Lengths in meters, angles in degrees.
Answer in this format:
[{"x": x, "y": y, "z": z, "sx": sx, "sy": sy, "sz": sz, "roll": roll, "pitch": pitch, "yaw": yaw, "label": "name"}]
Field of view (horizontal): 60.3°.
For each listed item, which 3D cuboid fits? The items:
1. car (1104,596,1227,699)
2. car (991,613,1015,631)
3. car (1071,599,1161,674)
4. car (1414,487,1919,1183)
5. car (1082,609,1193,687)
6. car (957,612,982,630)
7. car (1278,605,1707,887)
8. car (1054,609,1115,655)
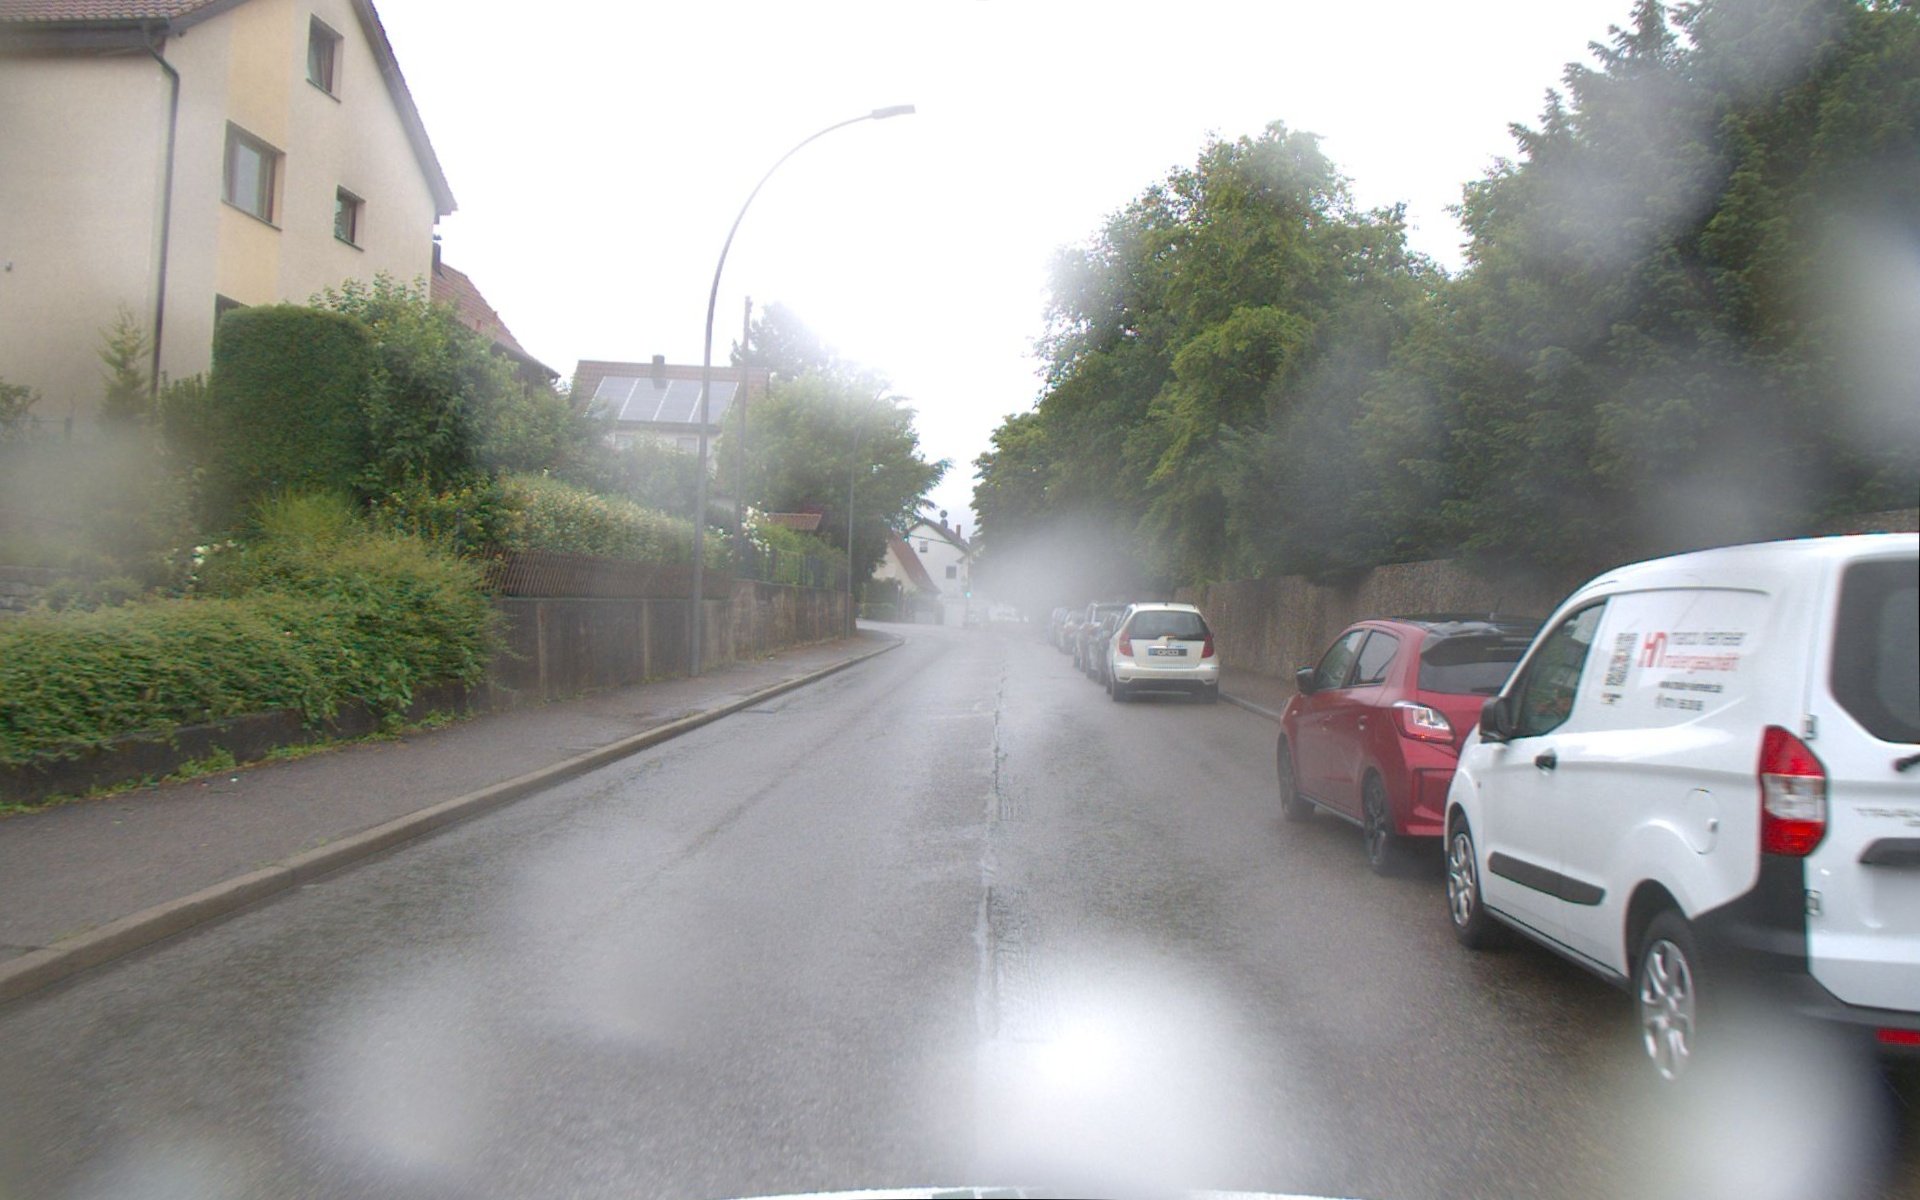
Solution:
[{"x": 3.439, "y": 0.792, "z": 28.311, "sx": 1.777, "sy": 1.601, "sz": 3.881, "roll": 1, "pitch": -1, "yaw": 3, "label": "car"}, {"x": 3.789, "y": 1.910, "z": 144.683, "sx": 1.866, "sy": 1.467, "sz": 4.002, "roll": 1, "pitch": 0, "yaw": 5, "label": "car"}, {"x": 3.780, "y": 0.875, "z": 40.667, "sx": 1.706, "sy": 1.697, "sz": 4.496, "roll": 1, "pitch": -1, "yaw": -1, "label": "car"}, {"x": 3.055, "y": 0.640, "z": 6.289, "sx": 1.603, "sy": 1.771, "sz": 4.136, "roll": 2, "pitch": -1, "yaw": 2, "label": "car"}, {"x": 3.611, "y": 0.961, "z": 34.391, "sx": 1.728, "sy": 1.472, "sz": 4.695, "roll": 1, "pitch": -1, "yaw": -1, "label": "car"}, {"x": 0.849, "y": 1.815, "z": 145.193, "sx": 1.866, "sy": 1.467, "sz": 4.002, "roll": 1, "pitch": 0, "yaw": 5, "label": "car"}, {"x": 3.221, "y": 0.792, "z": 10.733, "sx": 1.552, "sy": 1.480, "sz": 3.663, "roll": 0, "pitch": 0, "yaw": -1, "label": "car"}, {"x": 4.050, "y": 1.020, "z": 54.375, "sx": 1.618, "sy": 1.395, "sz": 4.180, "roll": 2, "pitch": 0, "yaw": -1, "label": "car"}]
